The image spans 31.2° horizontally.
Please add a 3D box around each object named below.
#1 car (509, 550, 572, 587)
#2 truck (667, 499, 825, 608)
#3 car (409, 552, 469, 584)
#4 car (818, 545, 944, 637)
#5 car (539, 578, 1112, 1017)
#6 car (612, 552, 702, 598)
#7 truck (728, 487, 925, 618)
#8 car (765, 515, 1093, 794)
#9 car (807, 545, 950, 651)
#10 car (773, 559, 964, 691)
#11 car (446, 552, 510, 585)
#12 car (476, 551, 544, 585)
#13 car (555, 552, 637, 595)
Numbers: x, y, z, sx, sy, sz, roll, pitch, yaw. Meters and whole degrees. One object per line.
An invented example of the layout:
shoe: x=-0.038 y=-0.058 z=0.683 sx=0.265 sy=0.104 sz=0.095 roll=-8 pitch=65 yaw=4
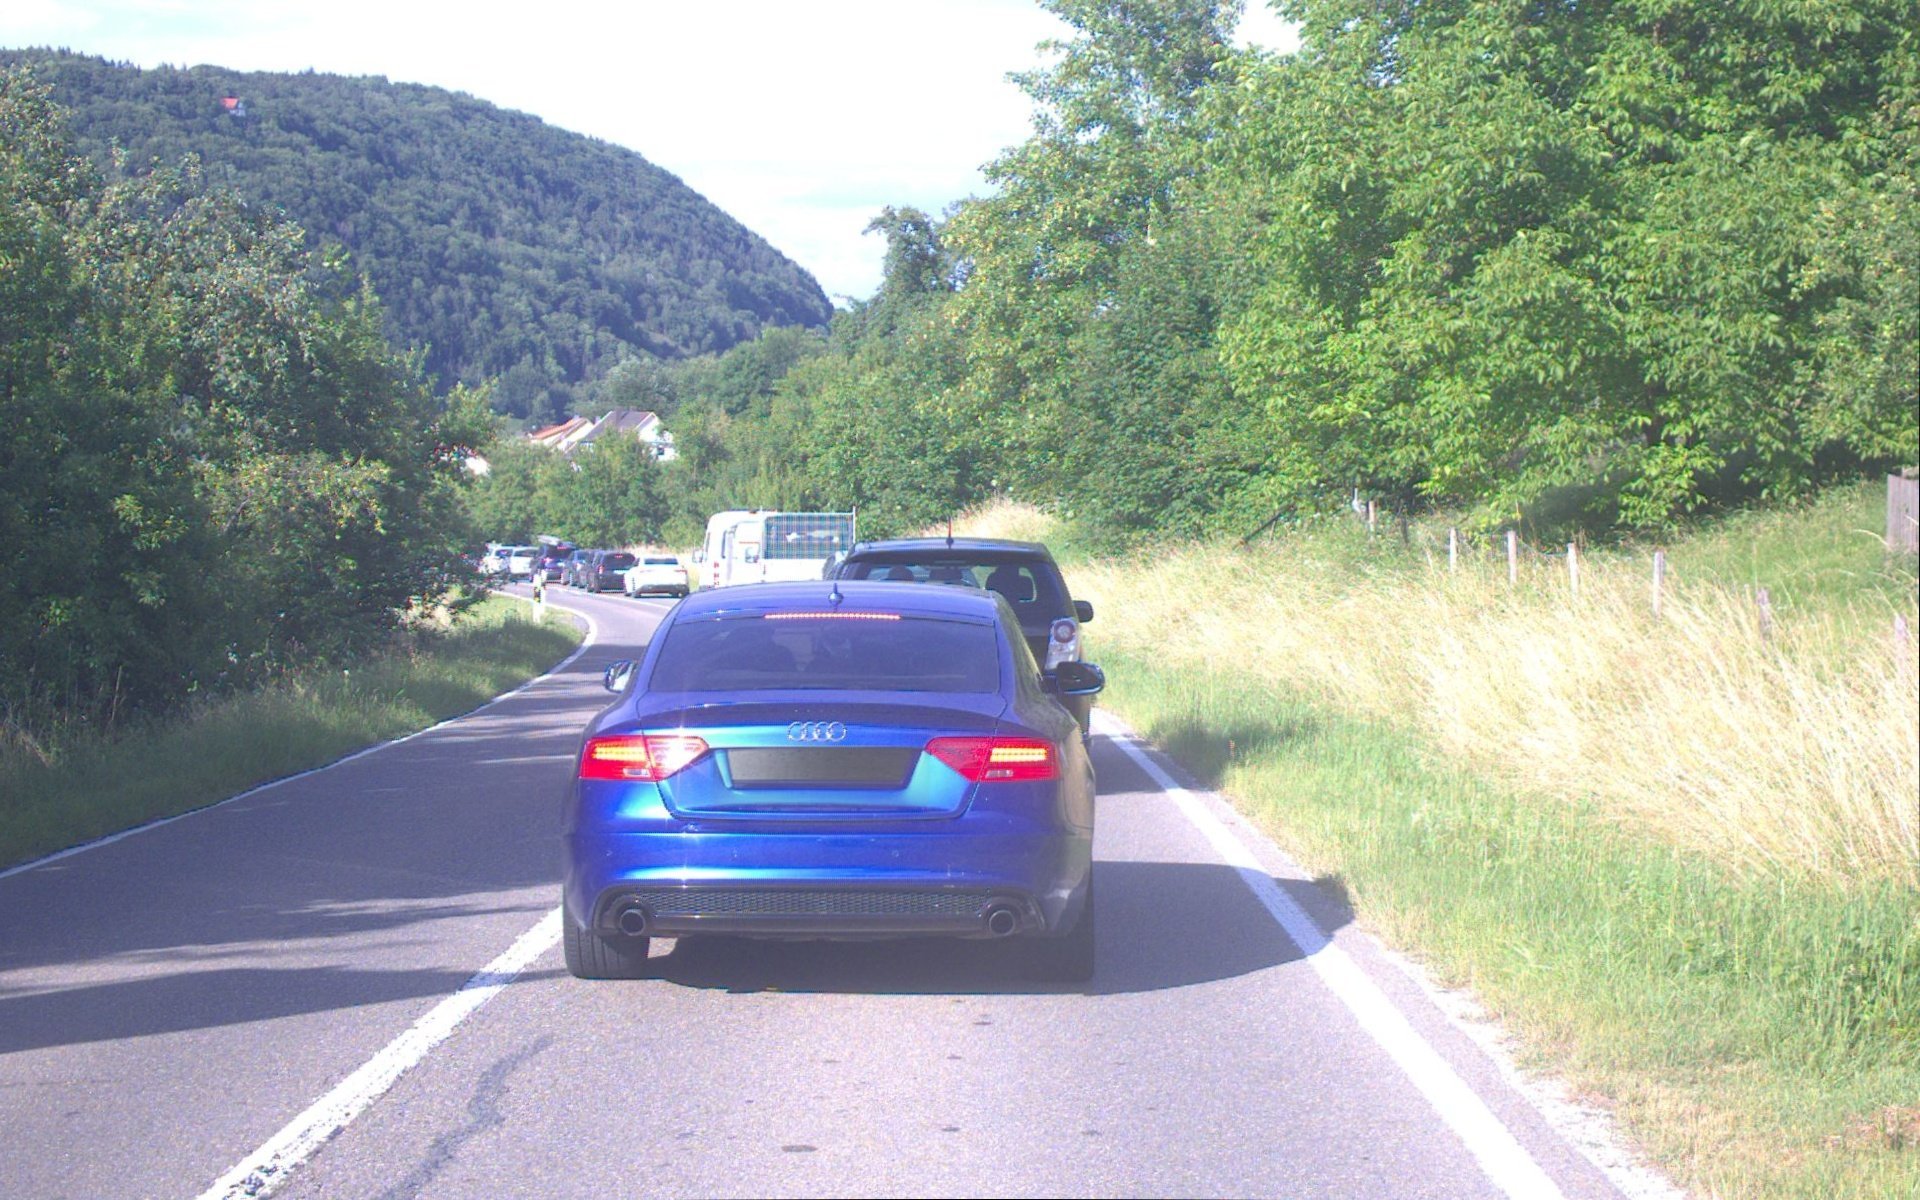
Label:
car: x=-17.509 y=-1.308 z=143.268 sx=1.993 sy=1.477 sz=4.001 roll=1 pitch=0 yaw=-16
truck: x=-5.750 y=-1.215 z=90.375 sx=2.863 sy=2.656 sz=10.648 roll=1 pitch=1 yaw=-10
car: x=-25.429 y=-1.562 z=167.607 sx=1.993 sy=1.477 sz=4.001 roll=1 pitch=0 yaw=-22
car: x=-1.282 y=-0.158 z=57.560 sx=1.993 sy=1.477 sz=4.000 roll=1 pitch=0 yaw=0
car: x=-0.385 y=0.607 z=12.820 sx=1.794 sy=1.355 sz=4.000 roll=1 pitch=0 yaw=1
car: x=-10.034 y=-0.841 z=113.599 sx=1.993 sy=1.477 sz=4.001 roll=1 pitch=0 yaw=-20
truck: x=-3.103 y=-1.051 z=76.041 sx=2.863 sy=2.656 sz=10.396 roll=1 pitch=1 yaw=-10
car: x=-0.182 y=0.323 z=23.123 sx=1.993 sy=1.696 sz=4.000 roll=1 pitch=0 yaw=0
car: x=-1.170 y=-0.042 z=50.898 sx=1.993 sy=1.477 sz=4.000 roll=1 pitch=0 yaw=0
car: x=-0.971 y=0.254 z=38.479 sx=1.993 sy=1.382 sz=4.000 roll=1 pitch=0 yaw=0
car: x=-22.235 y=-1.461 z=158.381 sx=1.993 sy=1.477 sz=4.001 roll=1 pitch=0 yaw=-22
car: x=-19.893 y=-1.411 z=151.850 sx=1.993 sy=1.477 sz=4.001 roll=1 pitch=0 yaw=-22
car: x=-12.939 y=-0.955 z=122.065 sx=1.993 sy=1.477 sz=4.001 roll=1 pitch=0 yaw=-20
